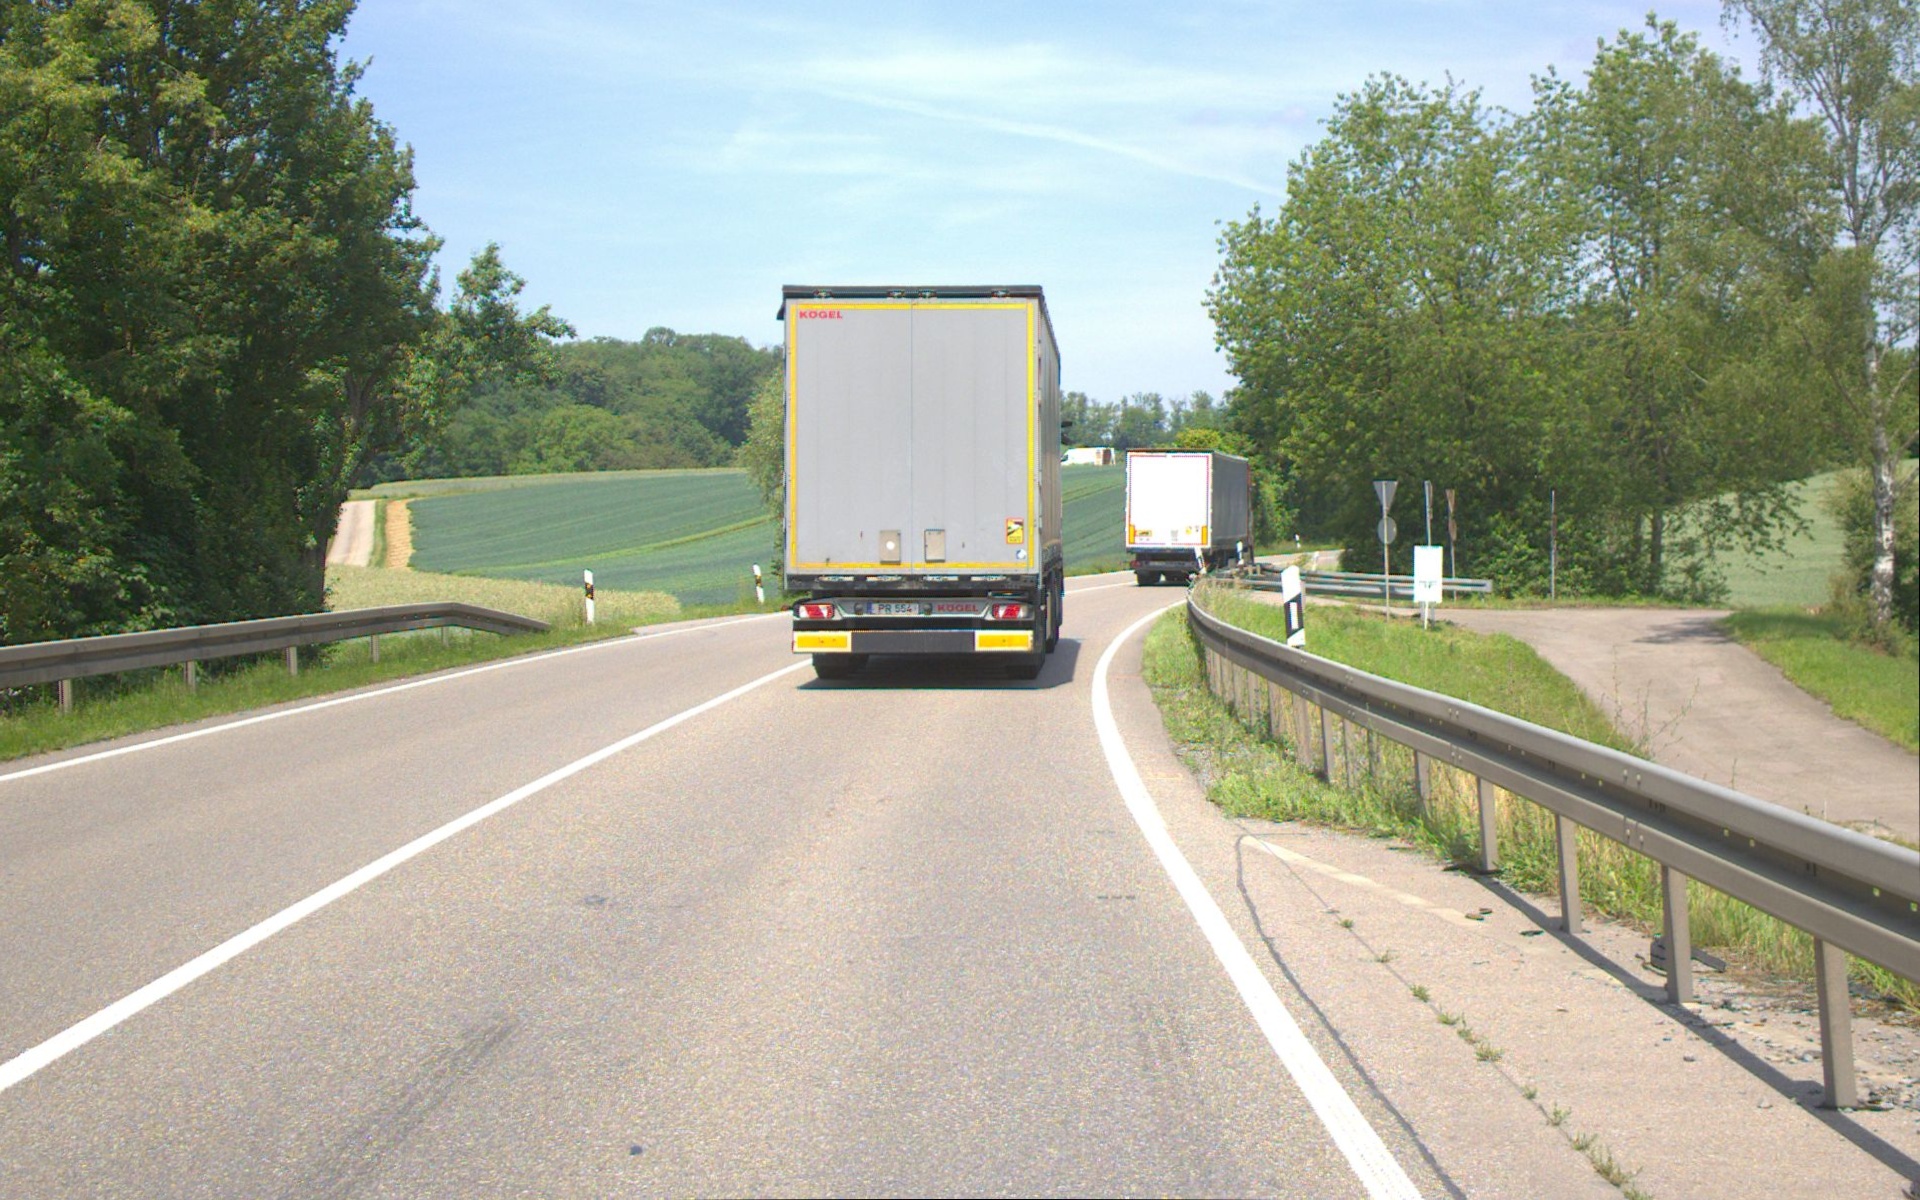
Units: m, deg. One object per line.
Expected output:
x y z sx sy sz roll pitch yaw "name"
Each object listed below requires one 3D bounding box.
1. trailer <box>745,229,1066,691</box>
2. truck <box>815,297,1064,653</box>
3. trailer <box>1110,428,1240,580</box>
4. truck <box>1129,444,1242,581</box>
-0.339 -1.514 40.406 3.118 4.484 13.886 0 1 2 "trailer"
-0.160 -1.649 46.750 3.118 4.479 6.811 0 1 2 "truck"
6.809 -2.823 106.793 3.366 4.302 13.861 0 0 6 "trailer"
7.440 -2.802 112.652 3.366 4.302 6.738 0 0 6 "truck"
